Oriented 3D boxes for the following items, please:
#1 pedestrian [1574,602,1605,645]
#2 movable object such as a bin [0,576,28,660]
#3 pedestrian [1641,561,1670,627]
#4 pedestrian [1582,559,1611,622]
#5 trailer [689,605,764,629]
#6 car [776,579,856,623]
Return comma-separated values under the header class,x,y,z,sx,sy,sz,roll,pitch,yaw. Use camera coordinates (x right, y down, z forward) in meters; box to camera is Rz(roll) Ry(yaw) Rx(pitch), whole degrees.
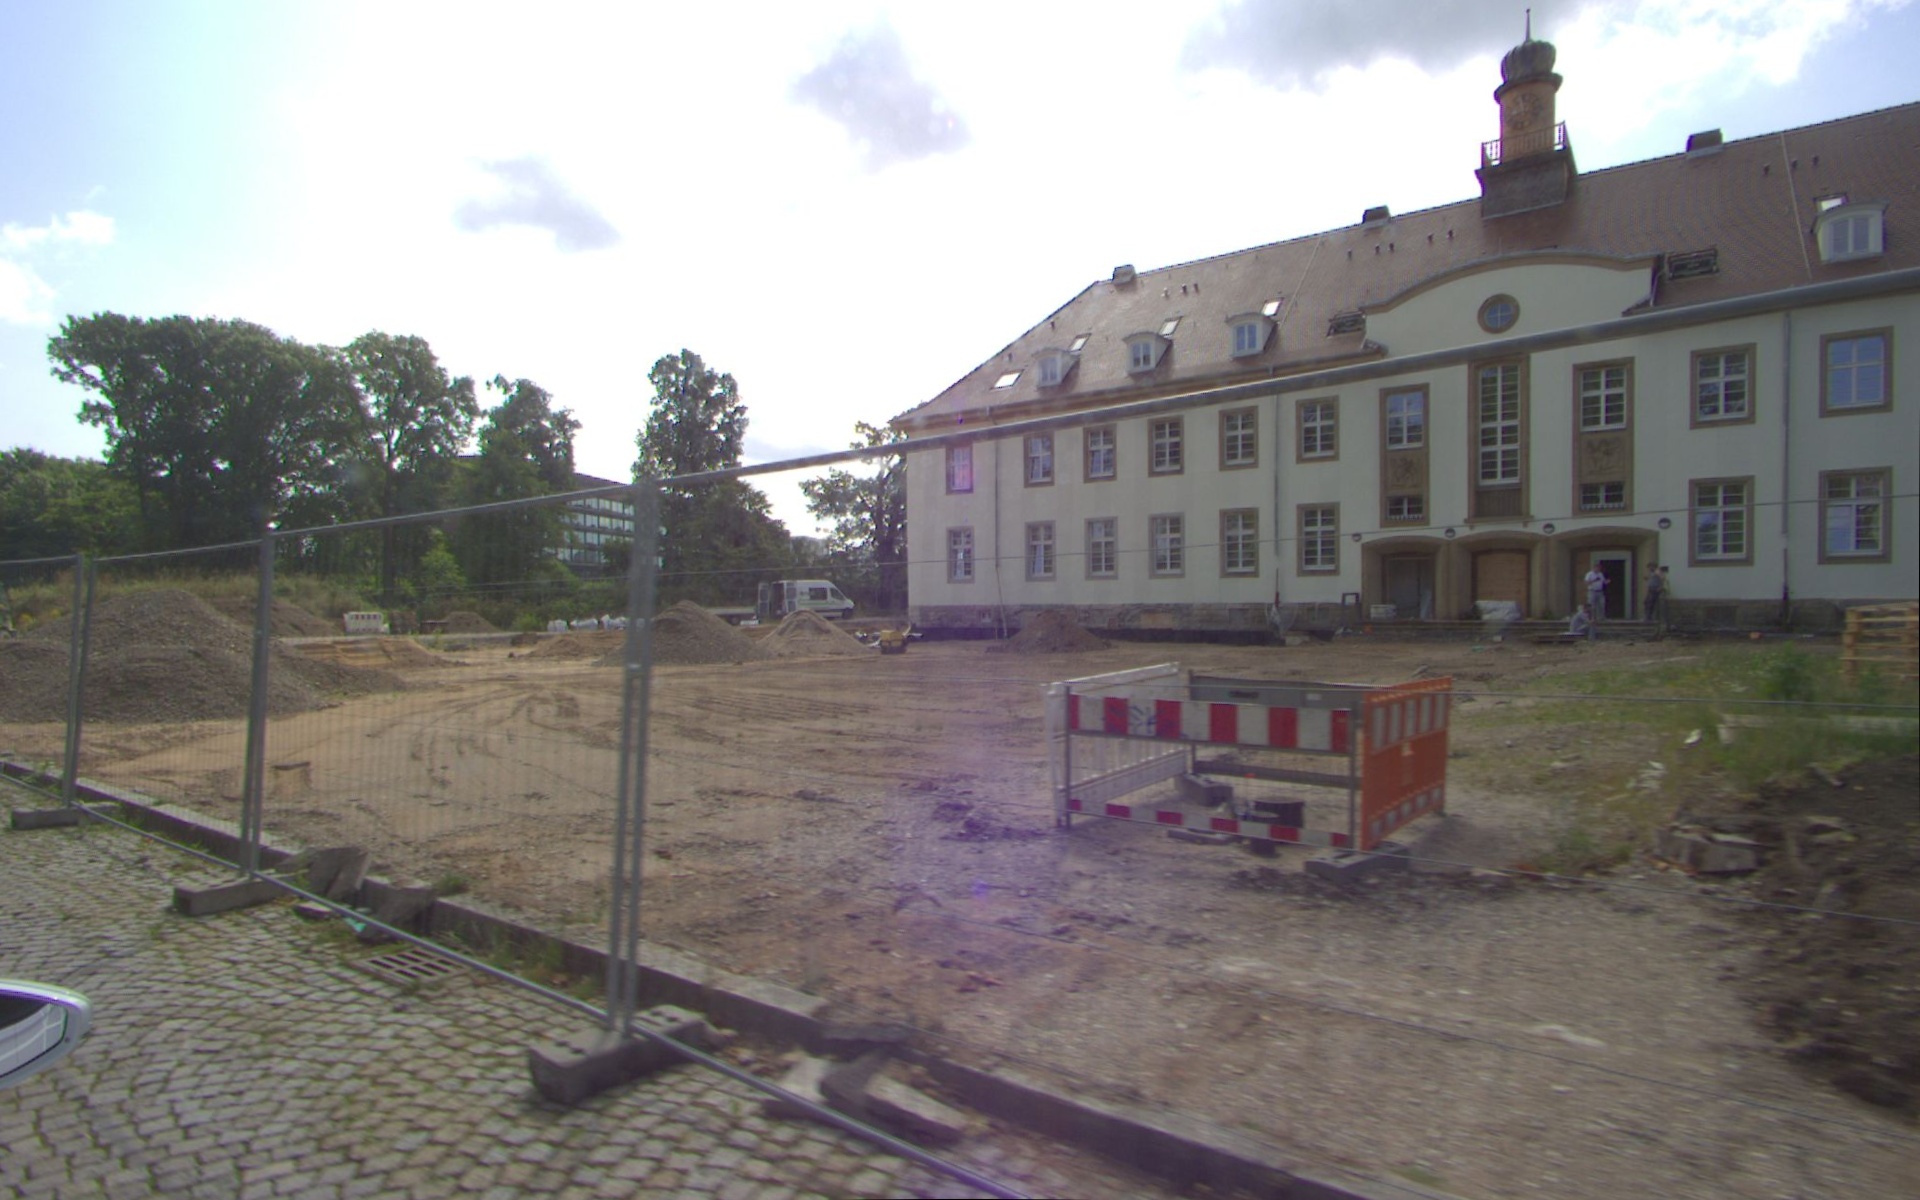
class,x,y,z,sx,sy,sz,roll,pitch,yaw
pedestrian,18.171,0.680,28.908,0.713,1.226,0.665,0,1,36
movable object such as a bin,-31.100,0.573,30.856,2.102,2.627,4.771,-1,0,-26
pedestrian,20.107,-0.168,28.949,0.637,1.859,0.873,0,1,32
pedestrian,19.032,-0.271,29.960,0.724,1.859,0.643,0,1,33
trailer,-14.081,1.015,60.424,3.942,1.372,2.077,0,0,-30
car,-9.212,0.070,64.250,4.768,2.677,2.037,0,0,-43
